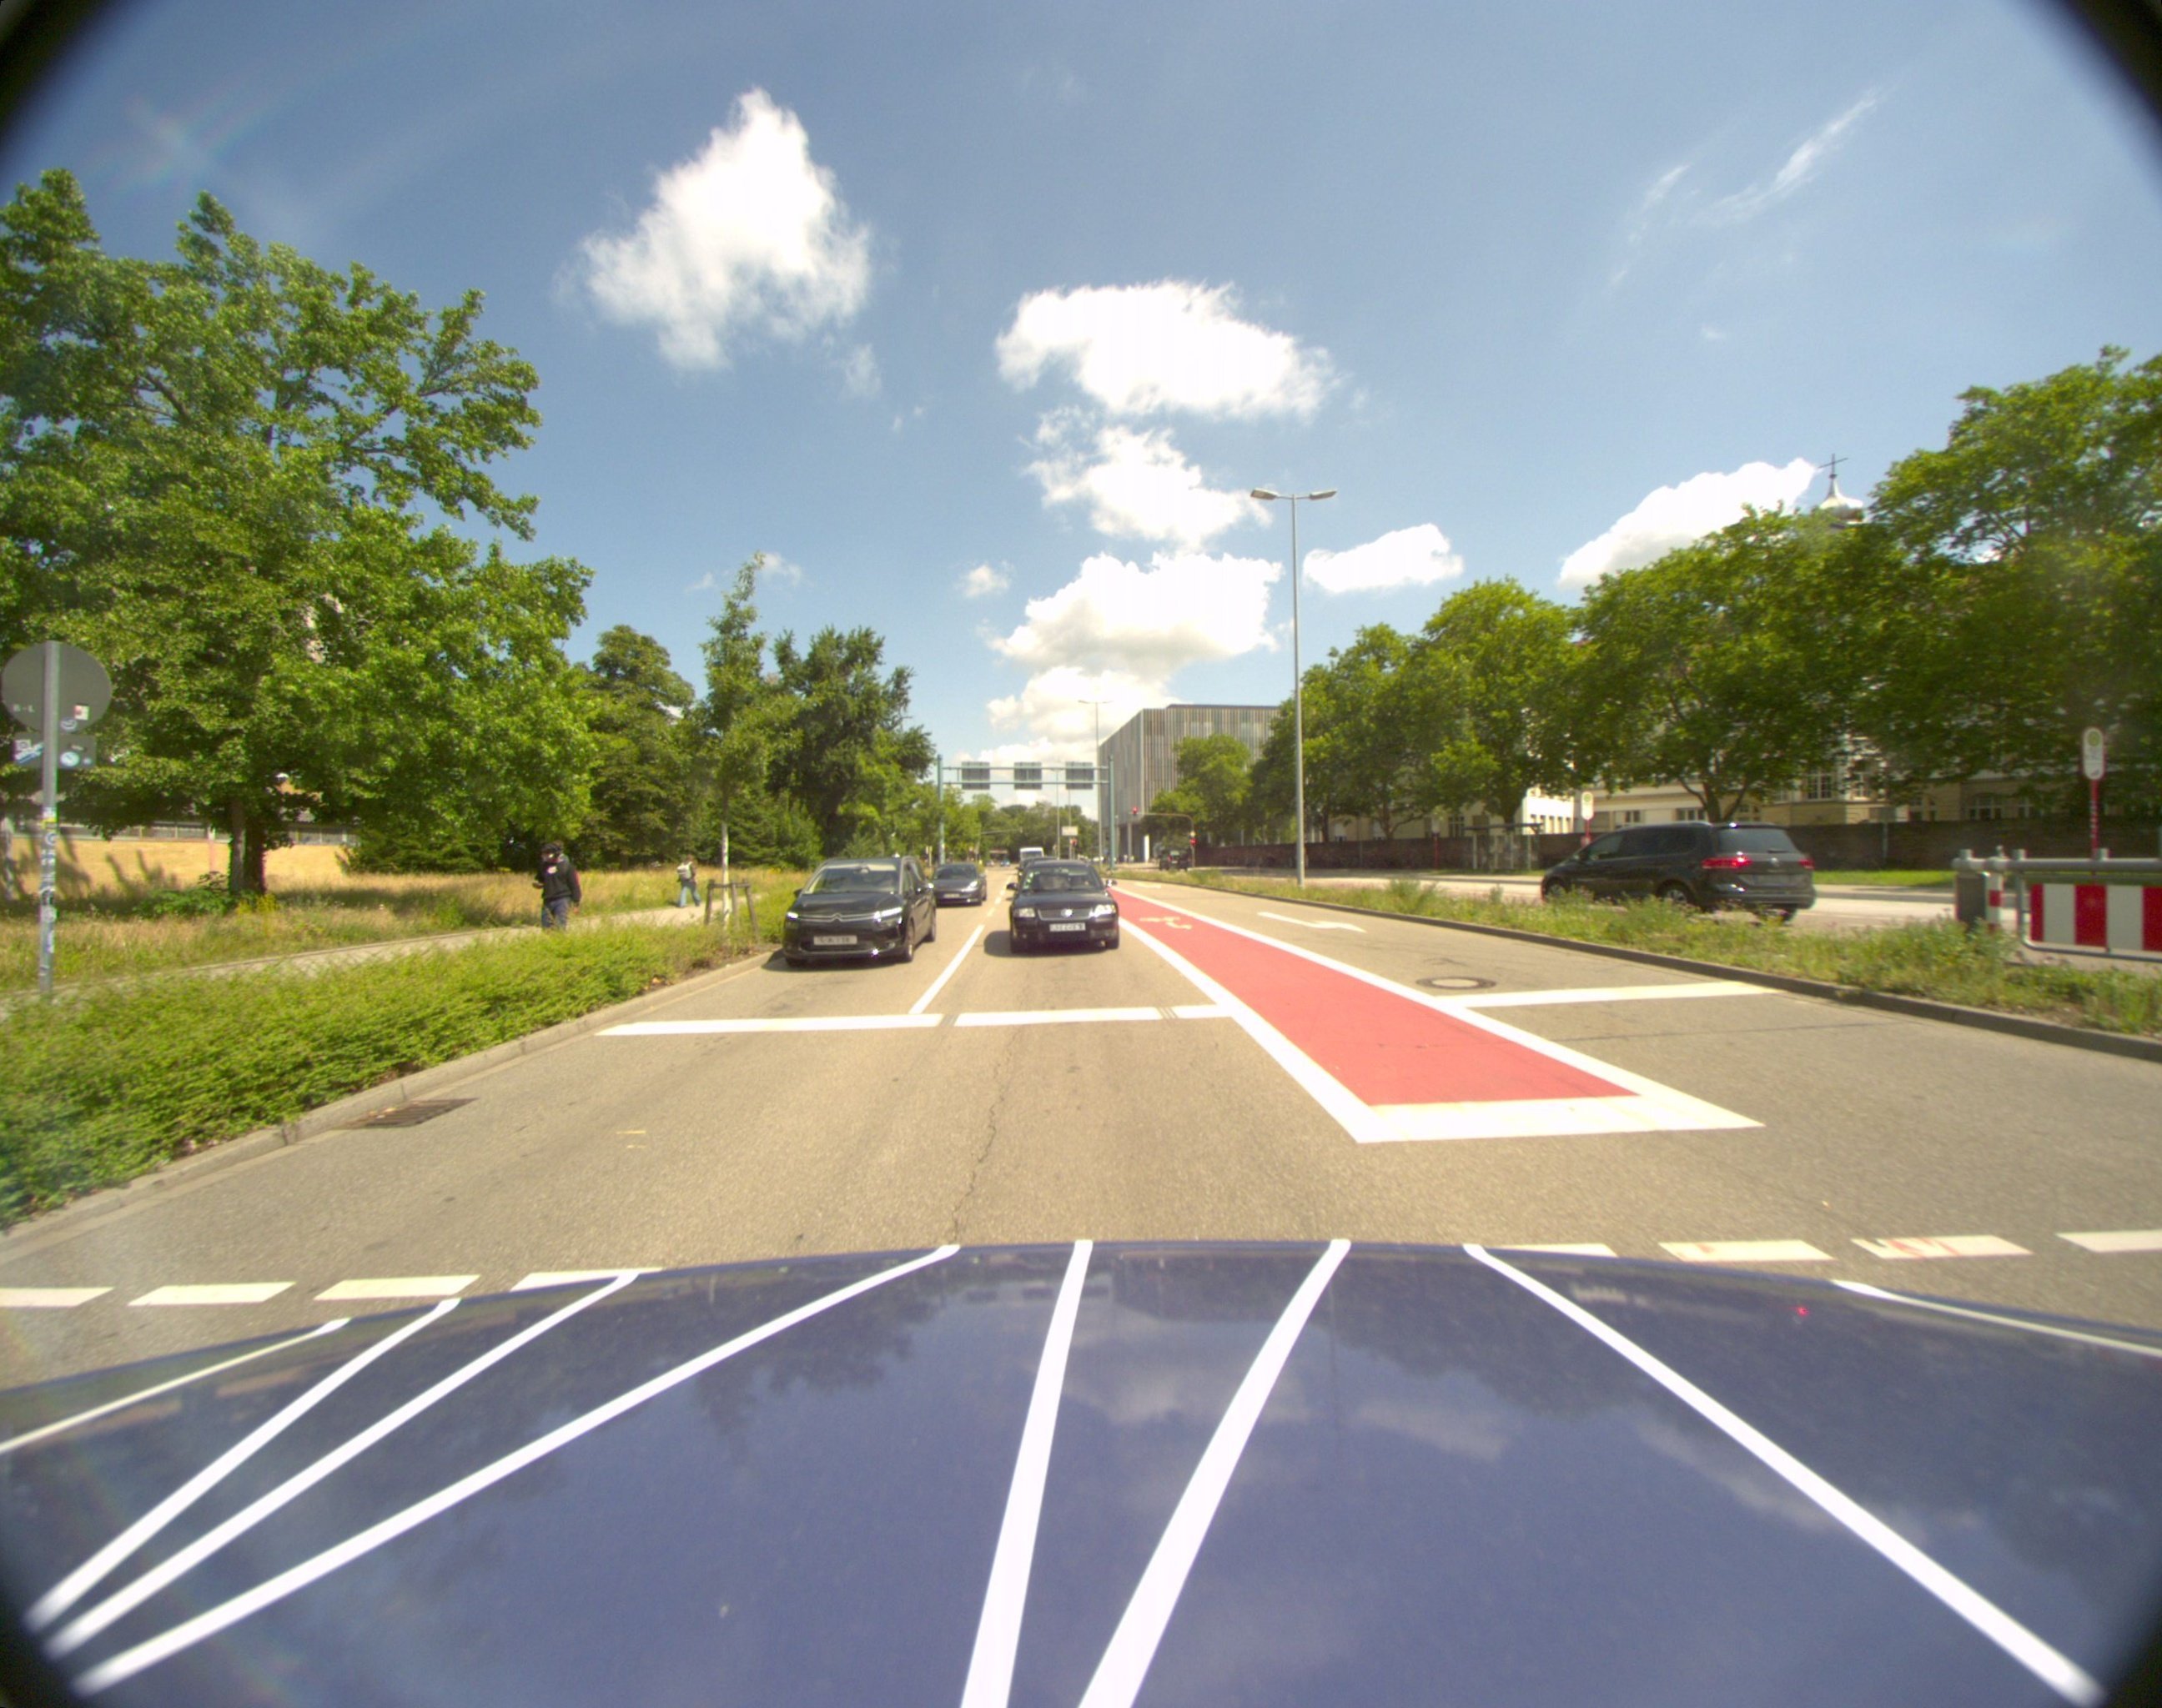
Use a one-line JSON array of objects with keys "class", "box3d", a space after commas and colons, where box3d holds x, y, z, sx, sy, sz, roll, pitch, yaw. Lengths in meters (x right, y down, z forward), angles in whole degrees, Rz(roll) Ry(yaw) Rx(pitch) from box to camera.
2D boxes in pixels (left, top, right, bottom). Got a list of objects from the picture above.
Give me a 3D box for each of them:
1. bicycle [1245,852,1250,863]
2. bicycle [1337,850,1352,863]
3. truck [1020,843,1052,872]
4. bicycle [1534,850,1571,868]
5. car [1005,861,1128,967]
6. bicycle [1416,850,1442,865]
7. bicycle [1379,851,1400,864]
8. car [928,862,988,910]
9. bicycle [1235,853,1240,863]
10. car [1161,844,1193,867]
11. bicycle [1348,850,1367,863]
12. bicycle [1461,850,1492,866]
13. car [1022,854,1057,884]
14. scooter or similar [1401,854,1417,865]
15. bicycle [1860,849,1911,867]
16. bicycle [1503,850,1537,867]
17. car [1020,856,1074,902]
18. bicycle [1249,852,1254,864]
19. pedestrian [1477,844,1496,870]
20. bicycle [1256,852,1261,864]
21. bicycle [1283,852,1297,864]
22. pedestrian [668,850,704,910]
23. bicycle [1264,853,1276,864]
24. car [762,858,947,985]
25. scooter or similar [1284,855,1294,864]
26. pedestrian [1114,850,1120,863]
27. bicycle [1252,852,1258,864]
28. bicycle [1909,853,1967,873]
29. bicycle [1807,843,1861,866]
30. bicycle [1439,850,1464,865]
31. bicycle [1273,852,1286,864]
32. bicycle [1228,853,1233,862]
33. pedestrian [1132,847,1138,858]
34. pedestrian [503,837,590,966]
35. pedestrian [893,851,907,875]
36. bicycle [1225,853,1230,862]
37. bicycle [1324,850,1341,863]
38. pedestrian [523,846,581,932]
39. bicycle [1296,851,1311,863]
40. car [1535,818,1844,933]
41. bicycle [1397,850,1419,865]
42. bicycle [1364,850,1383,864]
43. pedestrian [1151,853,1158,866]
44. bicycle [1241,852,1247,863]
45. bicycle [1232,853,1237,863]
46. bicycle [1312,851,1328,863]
[{"class": "bicycle", "box3d": [16.937, 0.391, 77.147, 0.382, 1.101, 1.672, -1, 1, 16]}, {"class": "bicycle", "box3d": [21.330, 0.213, 61.584, 0.378, 1.037, 1.414, -1, 1, -19]}, {"class": "truck", "box3d": [-3.974, 0.311, 66.071, 2.463, 2.287, 5.812, -3, 0, -5]}, {"class": "bicycle", "box3d": [27.847, 0.298, 44.929, 0.398, 1.037, 1.954, -1, 1, -24]}, {"class": "car", "box3d": [-0.369, 0.910, 13.521, 1.752, 1.426, 4.518, -3, 0, -4]}, {"class": "bicycle", "box3d": [24.337, 0.253, 53.147, 0.398, 1.037, 1.954, -1, 1, -22]}, {"class": "bicycle", "box3d": [23.032, 0.260, 56.685, 0.398, 0.998, 1.759, -1, 1, -19]}, {"class": "car", "box3d": [-4.166, 1.037, 26.315, 1.766, 1.409, 4.361, -3, 0, -7]}, {"class": "bicycle", "box3d": [16.409, 0.402, 79.627, 0.329, 1.012, 1.672, -1, 1, 16]}, {"class": "car", "box3d": [9.159, 0.171, 72.915, 2.215, 2.158, 4.518, 0, 0, -4]}, {"class": "bicycle", "box3d": [21.852, 0.211, 60.058, 0.398, 1.037, 1.759, -1, 1, -19]}, {"class": "bicycle", "box3d": [25.862, 0.256, 49.687, 0.398, 1.037, 1.954, -1, 1, -24]}, {"class": "car", "box3d": [-2.338, 0.777, 41.980, 1.752, 1.496, 4.518, -3, 0, -4]}, {"class": "scooter or similar", "box3d": [23.324, 0.402, 54.003, 0.354, 0.789, 1.067, -2, 1, -30]}, {"class": "bicycle", "box3d": [34.687, 0.171, 32.766, 0.398, 0.784, 1.462, -2, 1, -32]}, {"class": "bicycle", "box3d": [27.036, 0.284, 46.791, 0.398, 1.037, 1.954, -1, 1, -24]}, {"class": "car", "box3d": [-1.354, 0.862, 28.526, 1.752, 1.496, 4.518, -3, 0, -5]}, {"class": "bicycle", "box3d": [17.118, 0.397, 76.345, 0.382, 1.101, 1.672, -1, 1, 16]}, {"class": "pedestrian", "box3d": [25.009, 0.182, 46.869, 0.724, 1.602, 0.779, -2, 1, -34]}, {"class": "bicycle", "box3d": [17.503, 0.406, 74.757, 0.382, 1.101, 1.672, -1, 1, 16]}, {"class": "bicycle", "box3d": [19.048, 0.361, 69.412, 0.383, 1.101, 1.668, -1, 1, -17]}, {"class": "pedestrian", "box3d": [-11.792, 0.768, 22.715, 0.668, 1.739, 0.877, 0, 0, -5]}, {"class": "bicycle", "box3d": [18.132, 0.422, 73.028, 0.383, 1.101, 1.668, -1, 1, -14]}, {"class": "car", "box3d": [-3.489, 0.933, 12.644, 1.863, 1.613, 4.518, -3, 0, -3]}, {"class": "scooter or similar", "box3d": [18.668, 0.474, 68.141, 0.353, 0.838, 1.068, -1, 1, -18]}, {"class": "pedestrian", "box3d": [5.578, 0.370, 118.275, 0.632, 1.907, 0.718, -3, 2, -8]}, {"class": "bicycle", "box3d": [17.298, 0.402, 75.497, 0.382, 1.101, 1.672, -1, 1, 16]}, {"class": "bicycle", "box3d": [35.477, 0.378, 31.473, 0.398, 0.784, 1.540, -2, 1, -32]}, {"class": "bicycle", "box3d": [33.823, 0.020, 34.163, 0.398, 1.024, 1.683, -2, 1, -32]}, {"class": "bicycle", "box3d": [25.090, 0.227, 51.426, 0.398, 1.037, 1.636, -1, 1, -24]}, {"class": "bicycle", "box3d": [18.580, 0.395, 71.047, 0.383, 1.101, 1.668, -1, 1, -16]}, {"class": "bicycle", "box3d": [16.022, 0.381, 81.239, 0.329, 1.012, 1.672, -1, 1, 16]}, {"class": "pedestrian", "box3d": [9.422, -0.248, 133.230, 0.826, 1.906, 0.807, -3, 2, -10]}, {"class": "pedestrian", "box3d": [-7.518, 0.647, 10.732, 0.668, 1.739, 0.847, 0, 0, -5]}, {"class": "pedestrian", "box3d": [-13.733, 0.693, 57.569, 0.845, 1.755, 0.841, -2, 2, -5]}, {"class": "bicycle", "box3d": [15.823, 0.376, 81.955, 0.329, 1.012, 1.672, -1, 1, 16]}, {"class": "bicycle", "box3d": [20.861, 0.229, 63.078, 0.383, 1.037, 1.668, -1, 1, -17]}, {"class": "pedestrian", "box3d": [-10.942, 0.709, 15.724, 0.751, 1.739, 0.667, 0, 0, -5]}, {"class": "bicycle", "box3d": [19.595, 0.272, 66.861, 0.383, 1.037, 1.668, -1, 1, -17]}, {"class": "car", "box3d": [10.161, 0.321, 13.208, 1.886, 1.614, 4.154, -2, 0, -3]}, {"class": "bicycle", "box3d": [23.642, 0.266, 54.969, 0.398, 1.037, 1.758, -1, 1, -20]}, {"class": "bicycle", "box3d": [22.466, 0.241, 58.325, 0.398, 1.037, 1.581, -1, 1, -19]}, {"class": "pedestrian", "box3d": [10.645, 0.761, 110.566, 0.715, 1.906, 0.807, -3, 2, -10]}, {"class": "bicycle", "box3d": [16.638, 0.396, 77.560, 0.382, 1.101, 1.672, -1, 1, 16]}, {"class": "bicycle", "box3d": [16.239, 0.391, 80.328, 0.329, 1.012, 1.672, -1, 1, 16]}, {"class": "bicycle", "box3d": [20.352, 0.248, 64.768, 0.383, 1.037, 1.668, -1, 1, -17]}]
